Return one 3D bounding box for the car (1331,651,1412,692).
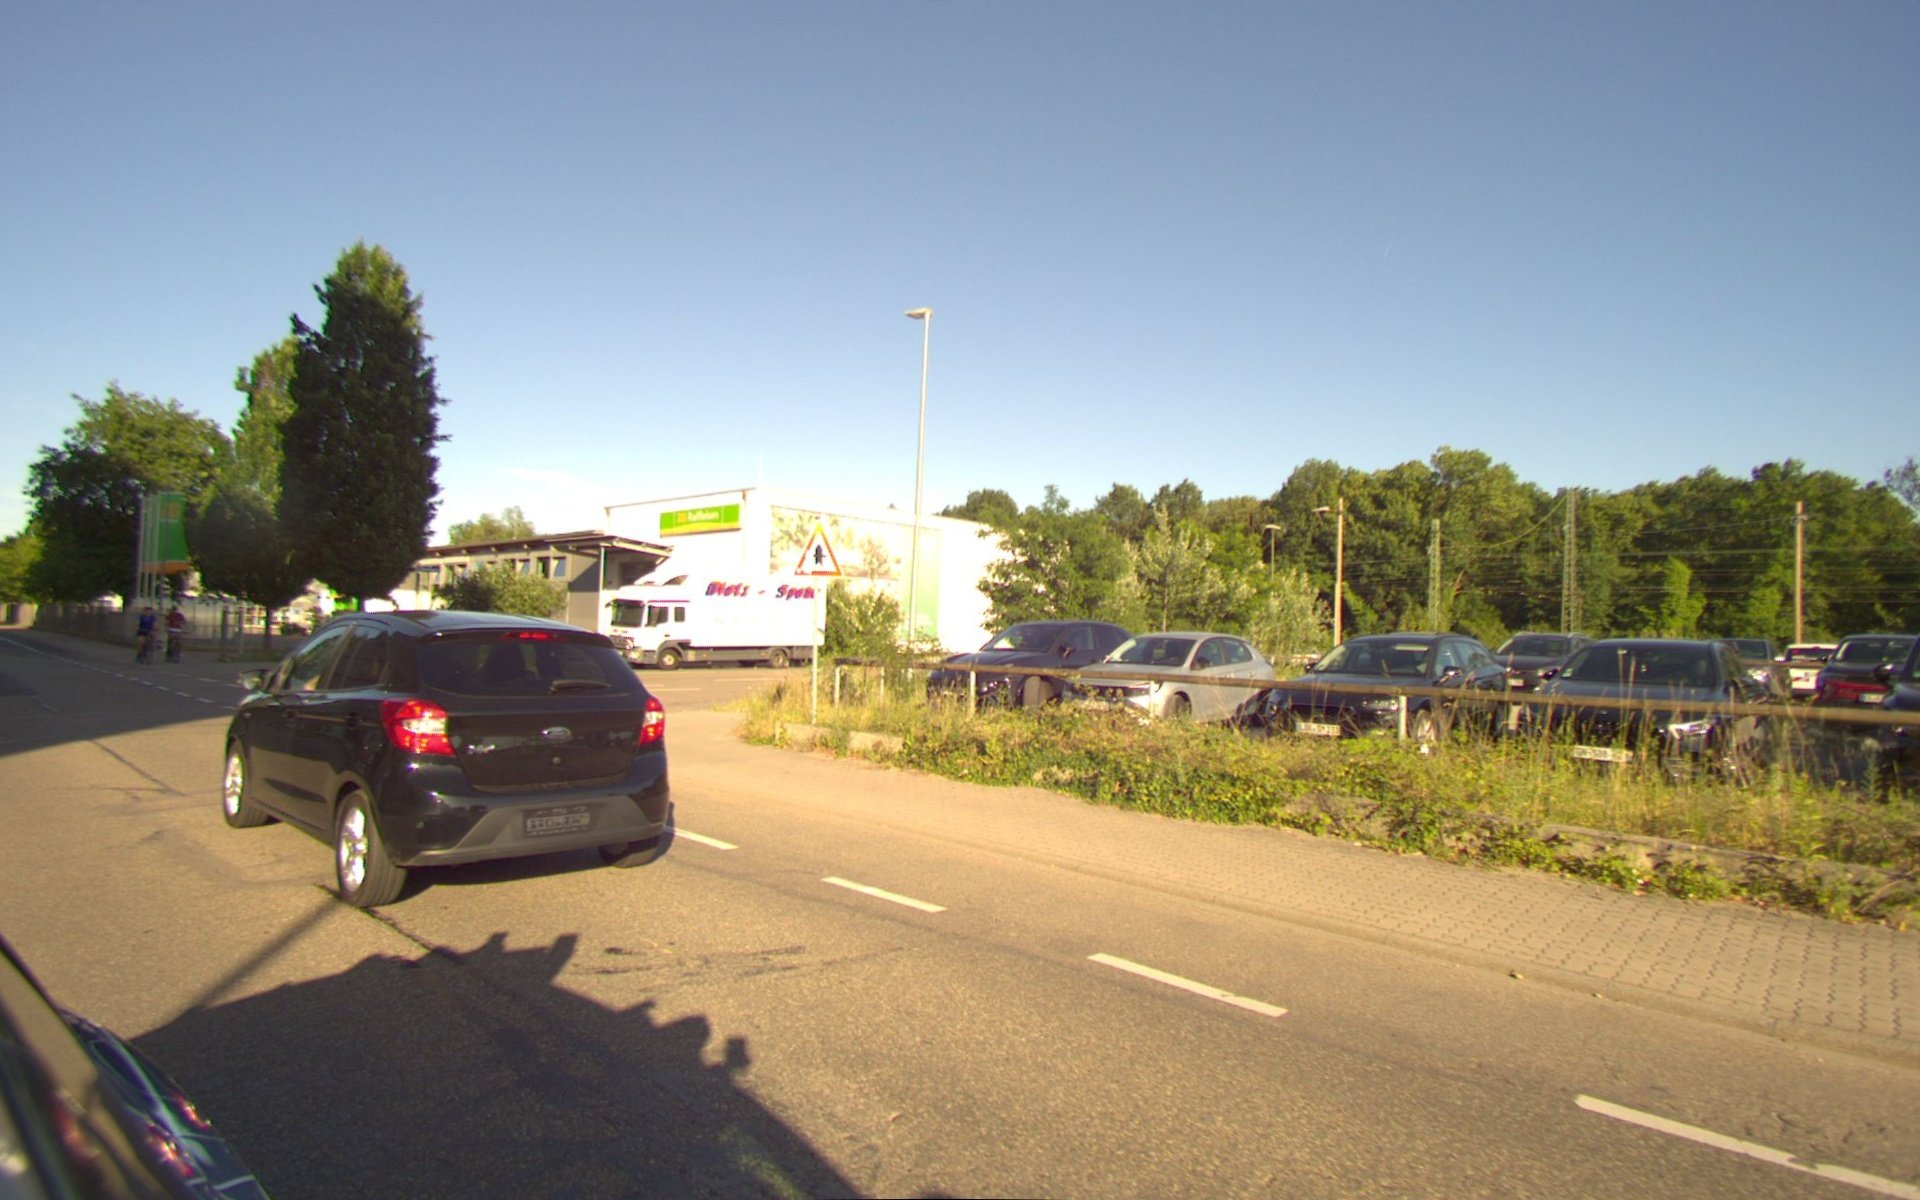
[{"bbox_3d":[16.125,2.745,39.582,1.860,1.476,3.966,-1,-3,39],"label":"car"}]

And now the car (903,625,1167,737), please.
[{"bbox_3d":[1.357,1.269,16.805,2.049,1.593,4.378,-1,-3,44],"label":"car"}]

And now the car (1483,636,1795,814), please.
[{"bbox_3d":[7.413,1.166,10.859,2.049,1.473,4.378,-1,-3,44],"label":"car"}]

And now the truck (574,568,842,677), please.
[{"bbox_3d":[-9.176,0.878,38.394,2.775,3.642,9.990,0,-2,42],"label":"truck"}]

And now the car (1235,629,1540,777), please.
[{"bbox_3d":[5.427,1.149,12.528,2.049,1.473,4.378,-1,-3,44],"label":"car"}]

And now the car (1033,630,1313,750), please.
[{"bbox_3d":[3.275,1.239,14.972,2.049,1.473,4.378,-1,-3,44],"label":"car"}]

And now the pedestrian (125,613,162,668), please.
[{"bbox_3d":[-25.932,1.280,32.151,1.057,1.734,0.713,-1,-3,43],"label":"pedestrian"}]

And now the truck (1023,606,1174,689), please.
[{"bbox_3d":[5.240,1.761,37.357,2.315,2.829,6.426,0,-3,41],"label":"truck"}]

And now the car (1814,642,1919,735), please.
[{"bbox_3d":[16.097,1.473,17.413,2.046,1.408,4.119,-1,-3,39],"label":"car"}]

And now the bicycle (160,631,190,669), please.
[{"bbox_3d":[-25.516,1.608,32.878,1.869,1.157,0.465,-1,-2,43],"label":"bicycle"}]

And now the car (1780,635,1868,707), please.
[{"bbox_3d":[25.442,2.056,29.916,1.860,1.934,3.966,-1,-3,39],"label":"car"}]

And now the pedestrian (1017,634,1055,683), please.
[{"bbox_3d":[2.632,2.023,35.061,0.916,1.652,0.918,-1,-3,44],"label":"pedestrian"}]

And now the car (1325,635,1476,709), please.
[{"bbox_3d":[10.081,1.576,22.974,2.046,1.476,4.358,-1,-3,39],"label":"car"}]

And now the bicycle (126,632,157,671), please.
[{"bbox_3d":[-25.934,1.603,32.059,2.201,1.157,0.441,-1,-1,43],"label":"bicycle"}]

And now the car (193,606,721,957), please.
[{"bbox_3d":[-3.386,0.851,6.428,4.000,1.515,1.636,0,-3,43],"label":"car"}]

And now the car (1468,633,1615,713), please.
[{"bbox_3d":[12.410,1.488,21.472,2.046,1.476,4.358,-1,-3,39],"label":"car"}]

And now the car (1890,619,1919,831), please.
[{"bbox_3d":[9.758,1.072,9.017,2.049,1.683,4.378,-1,-3,44],"label":"car"}]

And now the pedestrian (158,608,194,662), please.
[{"bbox_3d":[-25.490,1.130,32.901,1.057,1.734,0.713,-1,-3,43],"label":"pedestrian"}]

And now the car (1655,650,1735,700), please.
[{"bbox_3d":[23.729,2.372,32.623,1.860,1.476,3.966,-1,-3,39],"label":"car"}]

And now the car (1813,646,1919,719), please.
[{"bbox_3d":[19.763,1.721,21.793,2.046,1.408,4.119,-1,-3,39],"label":"car"}]
